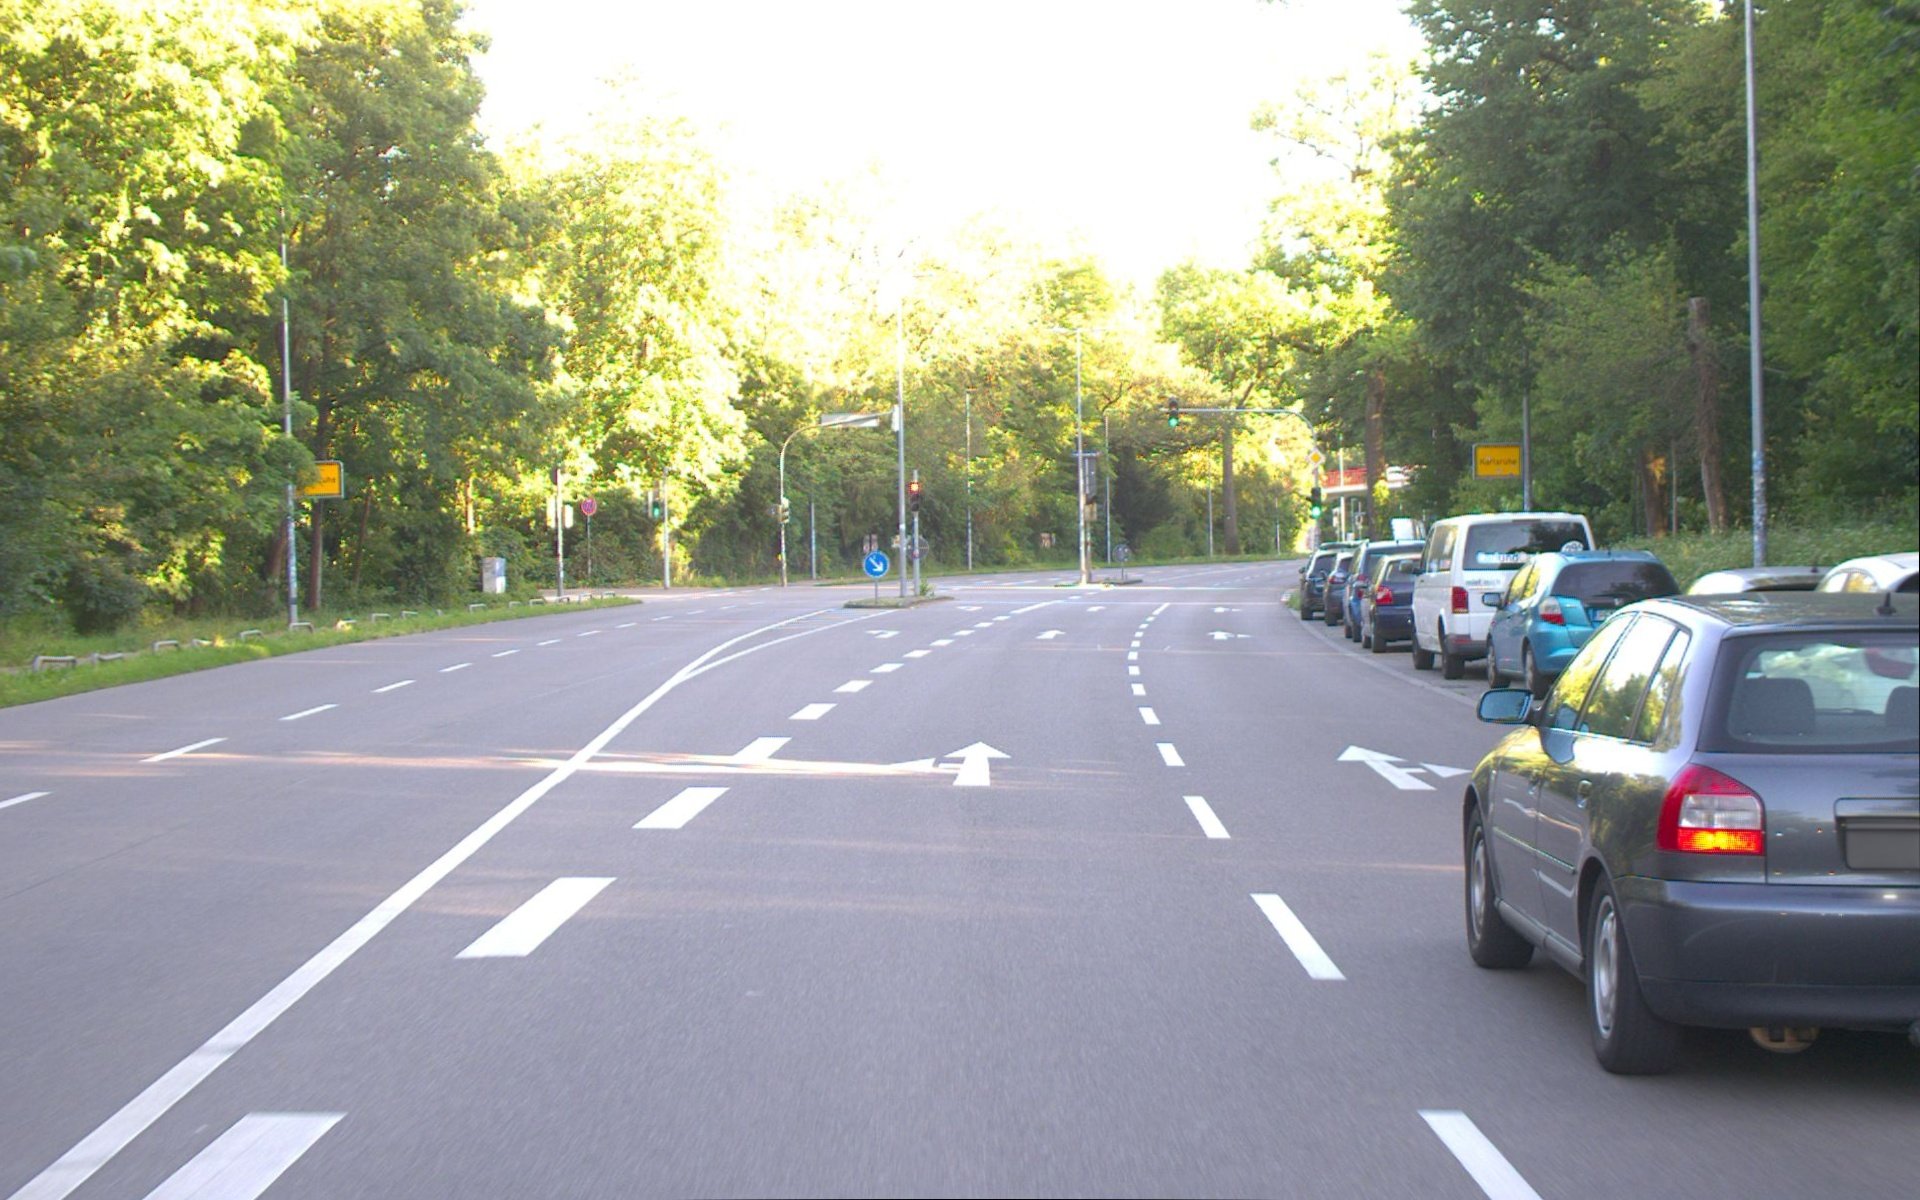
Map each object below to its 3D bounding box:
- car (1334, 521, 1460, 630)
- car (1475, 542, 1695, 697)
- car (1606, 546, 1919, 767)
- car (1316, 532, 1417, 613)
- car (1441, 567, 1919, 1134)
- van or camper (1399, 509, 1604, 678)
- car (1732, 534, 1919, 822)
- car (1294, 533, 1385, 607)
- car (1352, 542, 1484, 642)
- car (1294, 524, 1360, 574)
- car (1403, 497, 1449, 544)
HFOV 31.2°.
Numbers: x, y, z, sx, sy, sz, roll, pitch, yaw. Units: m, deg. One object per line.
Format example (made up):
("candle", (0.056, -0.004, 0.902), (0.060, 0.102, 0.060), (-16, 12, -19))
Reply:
("car", (7.296, -0.444, 57.677), (1.728, 1.698, 4.090), (-2, 1, 3))
("car", (6.531, 0.166, 36.281), (1.648, 1.517, 3.867), (-1, 1, 1))
("car", (5.875, 0.345, 24.870), (1.728, 1.405, 4.090), (-1, 1, 2))
("car", (8.050, -0.571, 68.329), (1.728, 1.485, 4.089), (-2, 1, 4))
("car", (2.673, 0.642, 11.090), (1.728, 1.436, 4.090), (0, 1, 1))
("van or camper", (6.624, -0.133, 42.576), (1.832, 1.963, 5.341), (0, 1, 1))
("car", (5.814, 0.373, 20.255), (1.728, 1.517, 4.090), (-1, 1, 2))
("car", (8.123, -0.661, 73.832), (1.728, 1.456, 4.166), (-2, 1, 4))
("car", (6.914, -0.158, 52.239), (1.650, 1.436, 4.113), (-1, 1, 3))
("car", (12.902, -1.815, 121.172), (1.994, 1.612, 4.000), (-4, 1, 3))
("car", (23.803, -4.056, 175.437), (2.309, 2.328, 4.558), (0, 1, 8))
